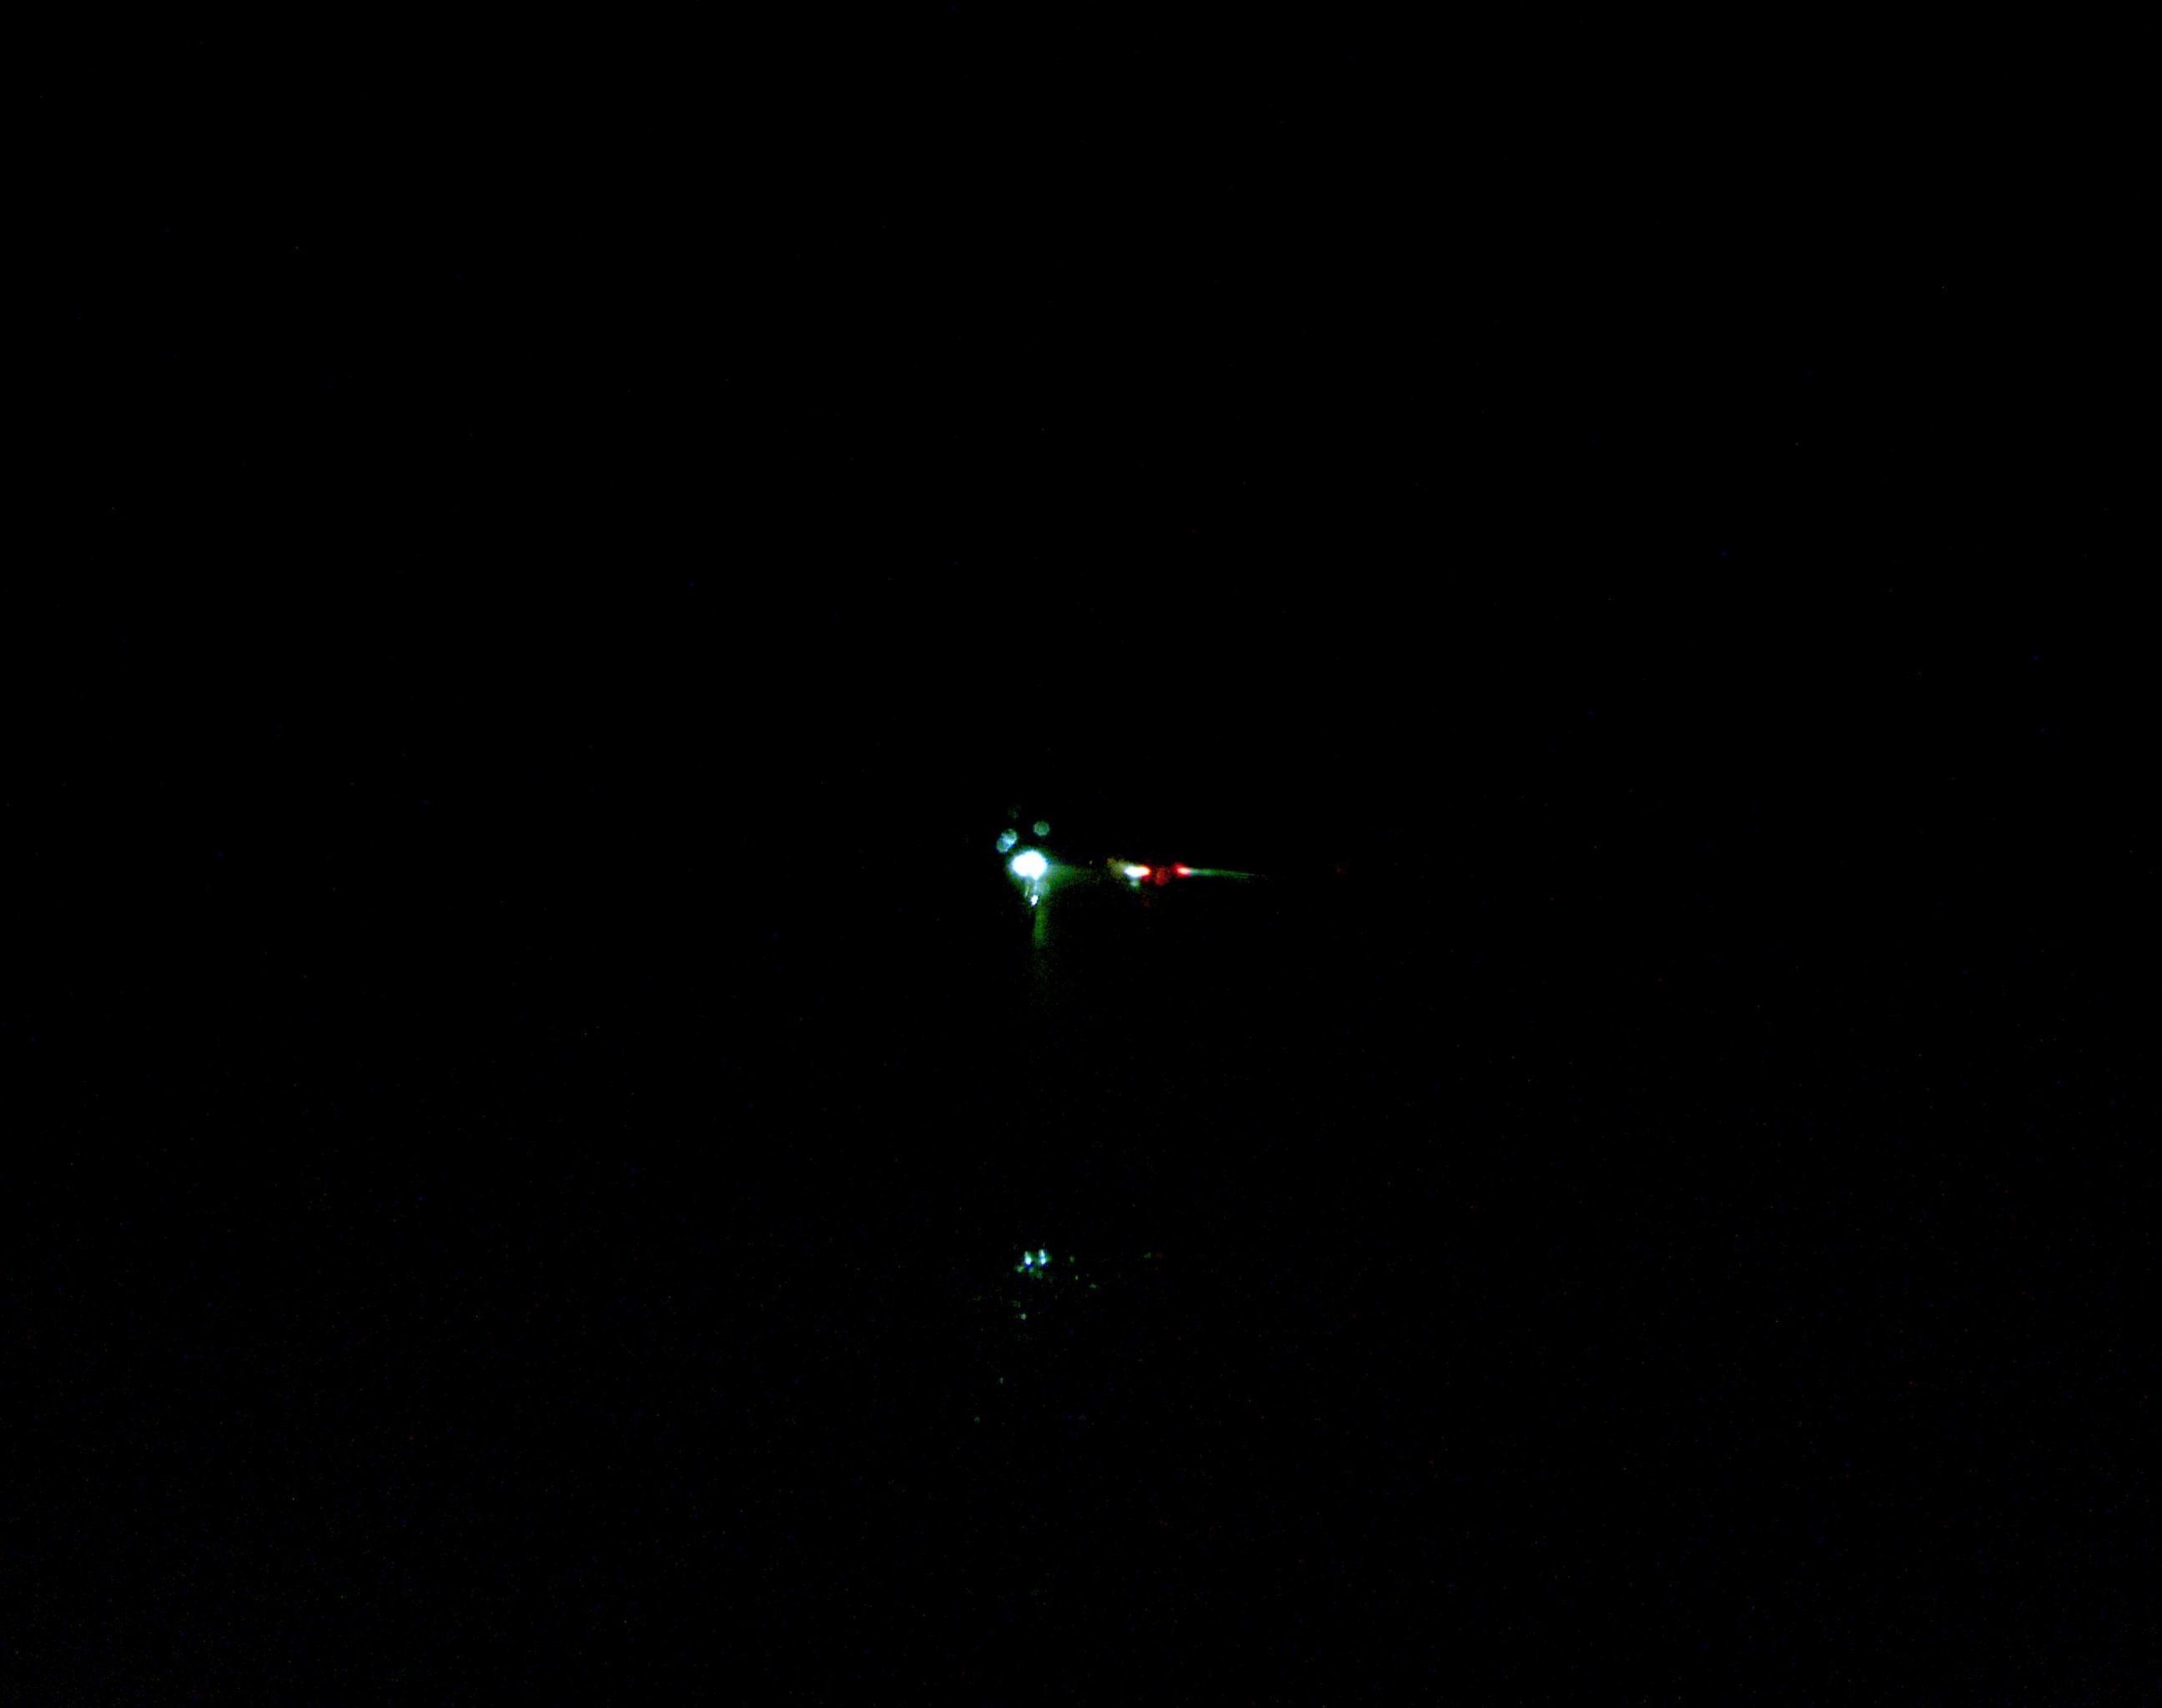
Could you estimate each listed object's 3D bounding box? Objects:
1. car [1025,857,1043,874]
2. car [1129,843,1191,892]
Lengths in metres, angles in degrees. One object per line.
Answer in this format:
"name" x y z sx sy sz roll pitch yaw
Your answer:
"car" -5.332 1.239 86.232 1.799 1.839 3.641 -2 0 -6
"car" 3.289 0.506 32.501 1.999 1.839 4.905 -2 1 -1
